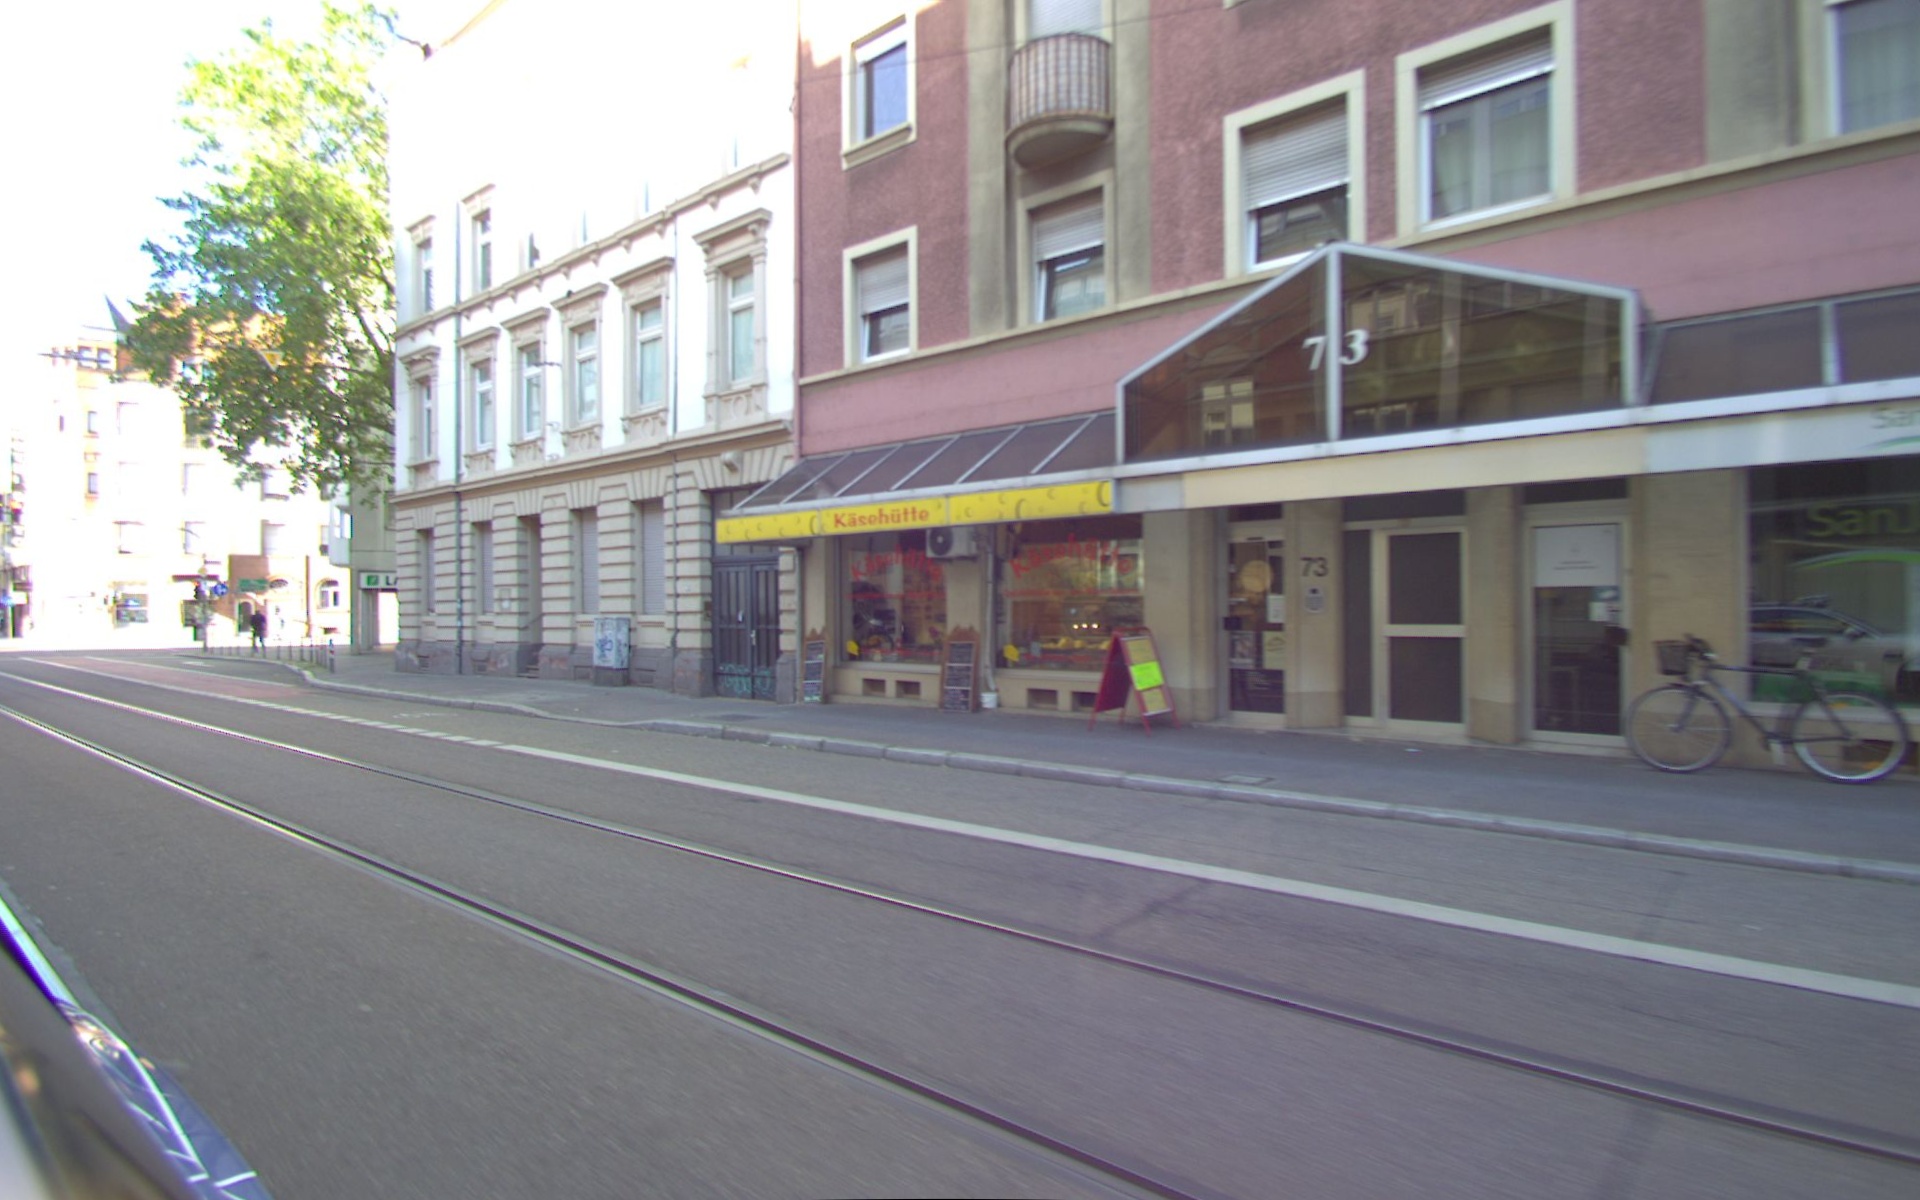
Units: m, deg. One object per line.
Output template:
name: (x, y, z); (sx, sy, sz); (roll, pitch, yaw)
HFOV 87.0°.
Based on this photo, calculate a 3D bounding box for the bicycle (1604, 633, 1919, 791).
bicycle: (6.304, 0.807, 7.703); (2.328, 1.067, 0.420); (-1, 0, 41)

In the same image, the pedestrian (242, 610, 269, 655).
pedestrian: (-29.526, 1.359, 42.406); (0.809, 1.861, 0.784); (-1, 0, 43)
